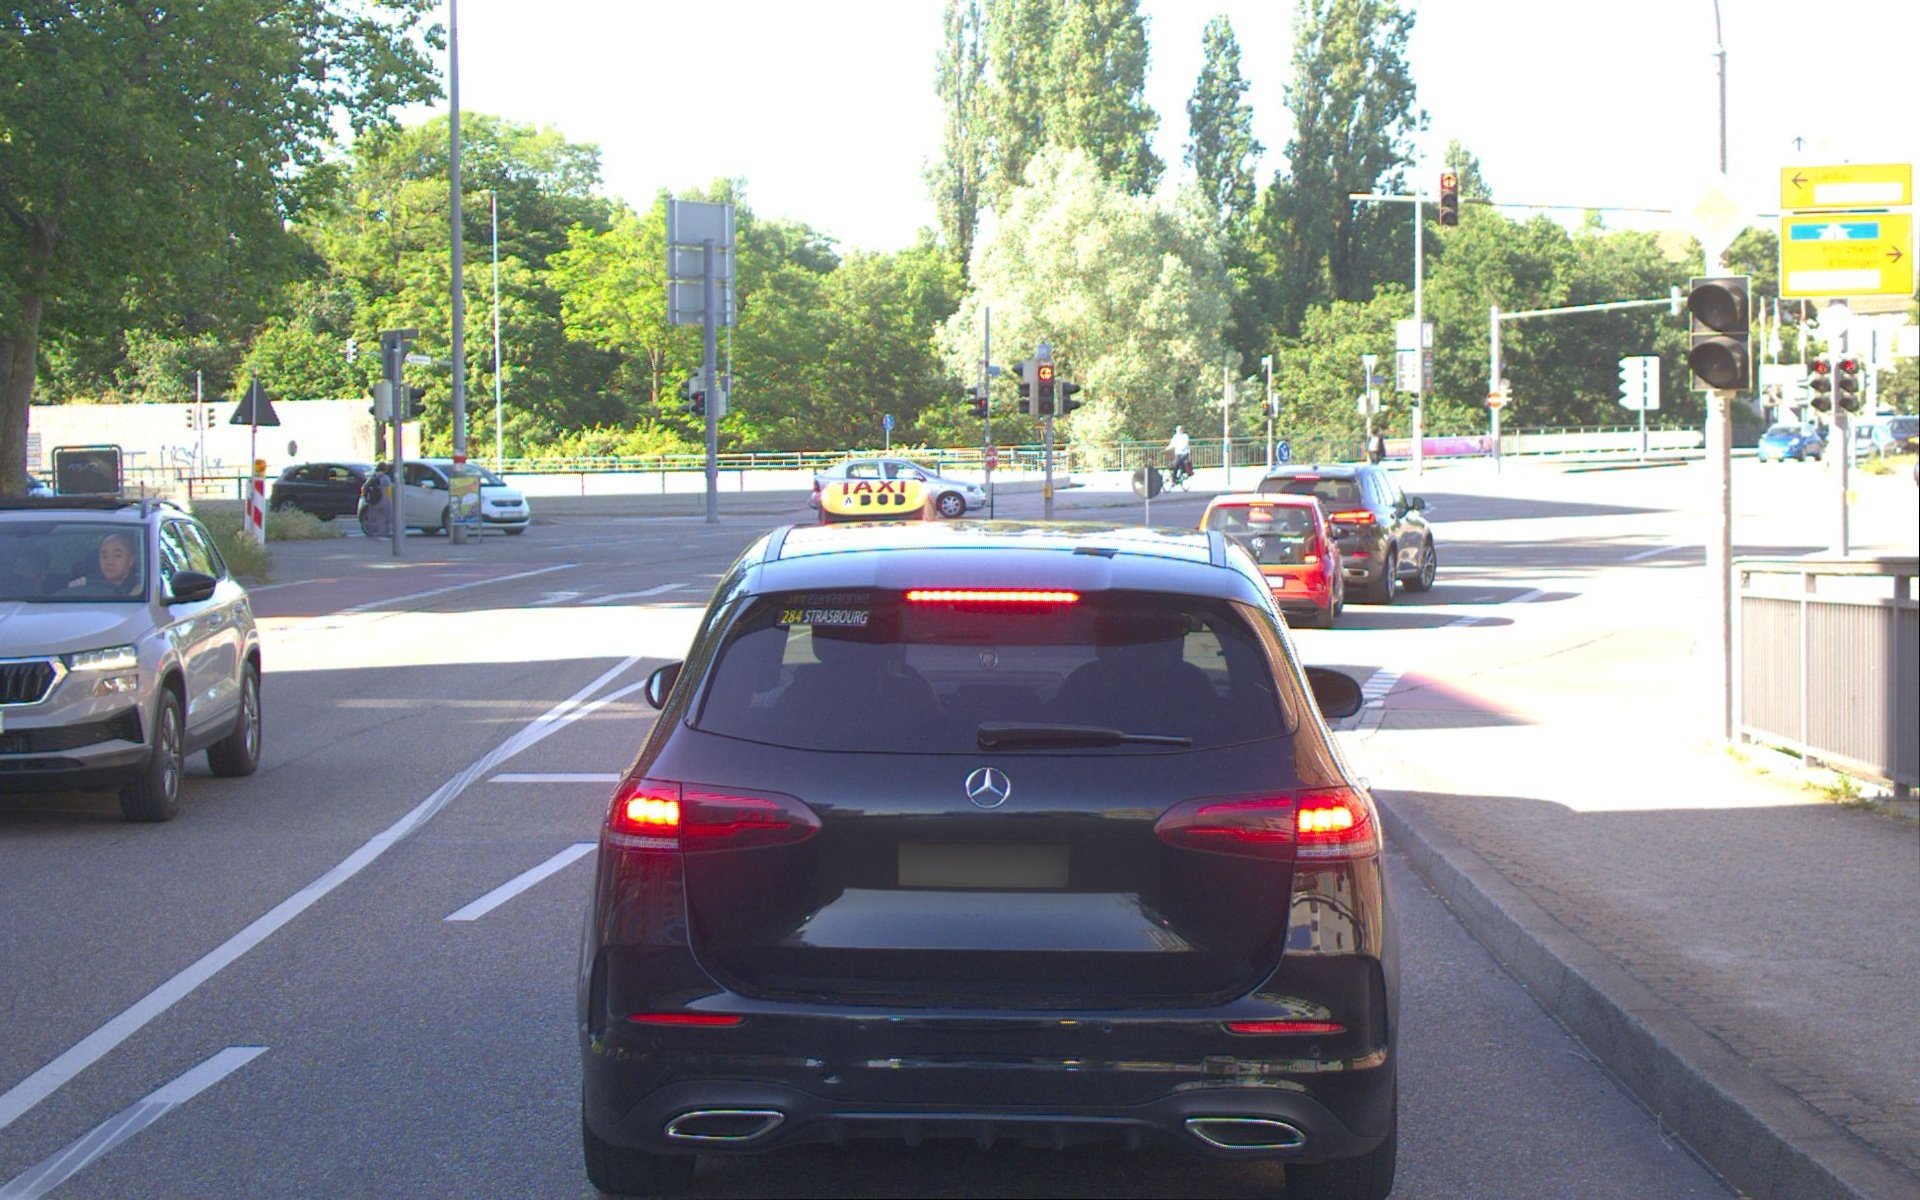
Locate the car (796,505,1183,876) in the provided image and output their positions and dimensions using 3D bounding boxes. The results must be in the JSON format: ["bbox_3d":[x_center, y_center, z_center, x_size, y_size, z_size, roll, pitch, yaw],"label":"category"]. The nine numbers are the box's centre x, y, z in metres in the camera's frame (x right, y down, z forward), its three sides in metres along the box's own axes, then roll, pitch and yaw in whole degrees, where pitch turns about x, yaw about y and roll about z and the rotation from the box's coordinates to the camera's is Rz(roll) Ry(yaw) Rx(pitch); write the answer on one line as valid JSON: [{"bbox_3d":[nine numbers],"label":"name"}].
[{"bbox_3d":[0.178,0.347,16.628,1.640,1.524,3.474,-1,2,2],"label":"car"}]

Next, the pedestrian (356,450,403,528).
[{"bbox_3d":[-11.472,-2.193,67.984,0.705,1.520,0.743,1,2,10],"label":"pedestrian"}]

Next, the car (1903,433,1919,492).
[{"bbox_3d":[26.558,-3.611,90.724,1.743,1.492,3.991,0,1,39],"label":"car"}]

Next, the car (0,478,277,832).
[{"bbox_3d":[-4.831,0.199,18.125,1.804,1.618,4.001,-1,2,-3],"label":"car"}]

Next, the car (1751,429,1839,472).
[{"bbox_3d":[31.555,-5.647,129.844,1.882,1.573,3.992,1,3,36],"label":"car"}]

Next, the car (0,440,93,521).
[{"bbox_3d":[-22.553,-2.733,79.510,4.891,1.788,1.921,0,3,32],"label":"car"}]

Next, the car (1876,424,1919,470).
[{"bbox_3d":[33.566,-5.356,119.811,1.882,1.573,3.992,1,3,36],"label":"car"}]

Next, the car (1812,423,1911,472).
[{"bbox_3d":[30.075,-5.092,114.657,1.882,1.573,3.992,1,3,36],"label":"car"}]

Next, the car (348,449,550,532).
[{"bbox_3d":[-10.577,-2.266,71.077,3.995,1.629,1.780,1,5,37],"label":"car"}]

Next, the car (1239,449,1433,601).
[{"bbox_3d":[4.976,-1.018,45.022,1.723,1.805,4.294,0,4,17],"label":"car"}]

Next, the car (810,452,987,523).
[{"bbox_3d":[-1.420,-2.641,80.679,3.987,1.624,1.891,0,2,4],"label":"car"}]

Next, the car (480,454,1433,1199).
[{"bbox_3d":[-0.031,0.472,8.845,1.878,1.608,4.000,1,2,-1],"label":"car"}]

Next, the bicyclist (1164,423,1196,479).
[{"bbox_3d":[6.128,-4.149,95.677,0.526,1.545,0.805,0,3,35],"label":"bicyclist"}]

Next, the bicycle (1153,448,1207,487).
[{"bbox_3d":[6.126,-3.700,95.701,0.526,1.046,1.986,0,3,35],"label":"bicycle"}]

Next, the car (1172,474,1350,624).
[{"bbox_3d":[3.489,-0.623,39.393,1.722,1.516,3.485,0,4,10],"label":"car"}]

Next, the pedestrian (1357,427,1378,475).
[{"bbox_3d":[13.550,-4.959,114.301,0.451,1.580,0.500,1,3,40],"label":"pedestrian"}]
